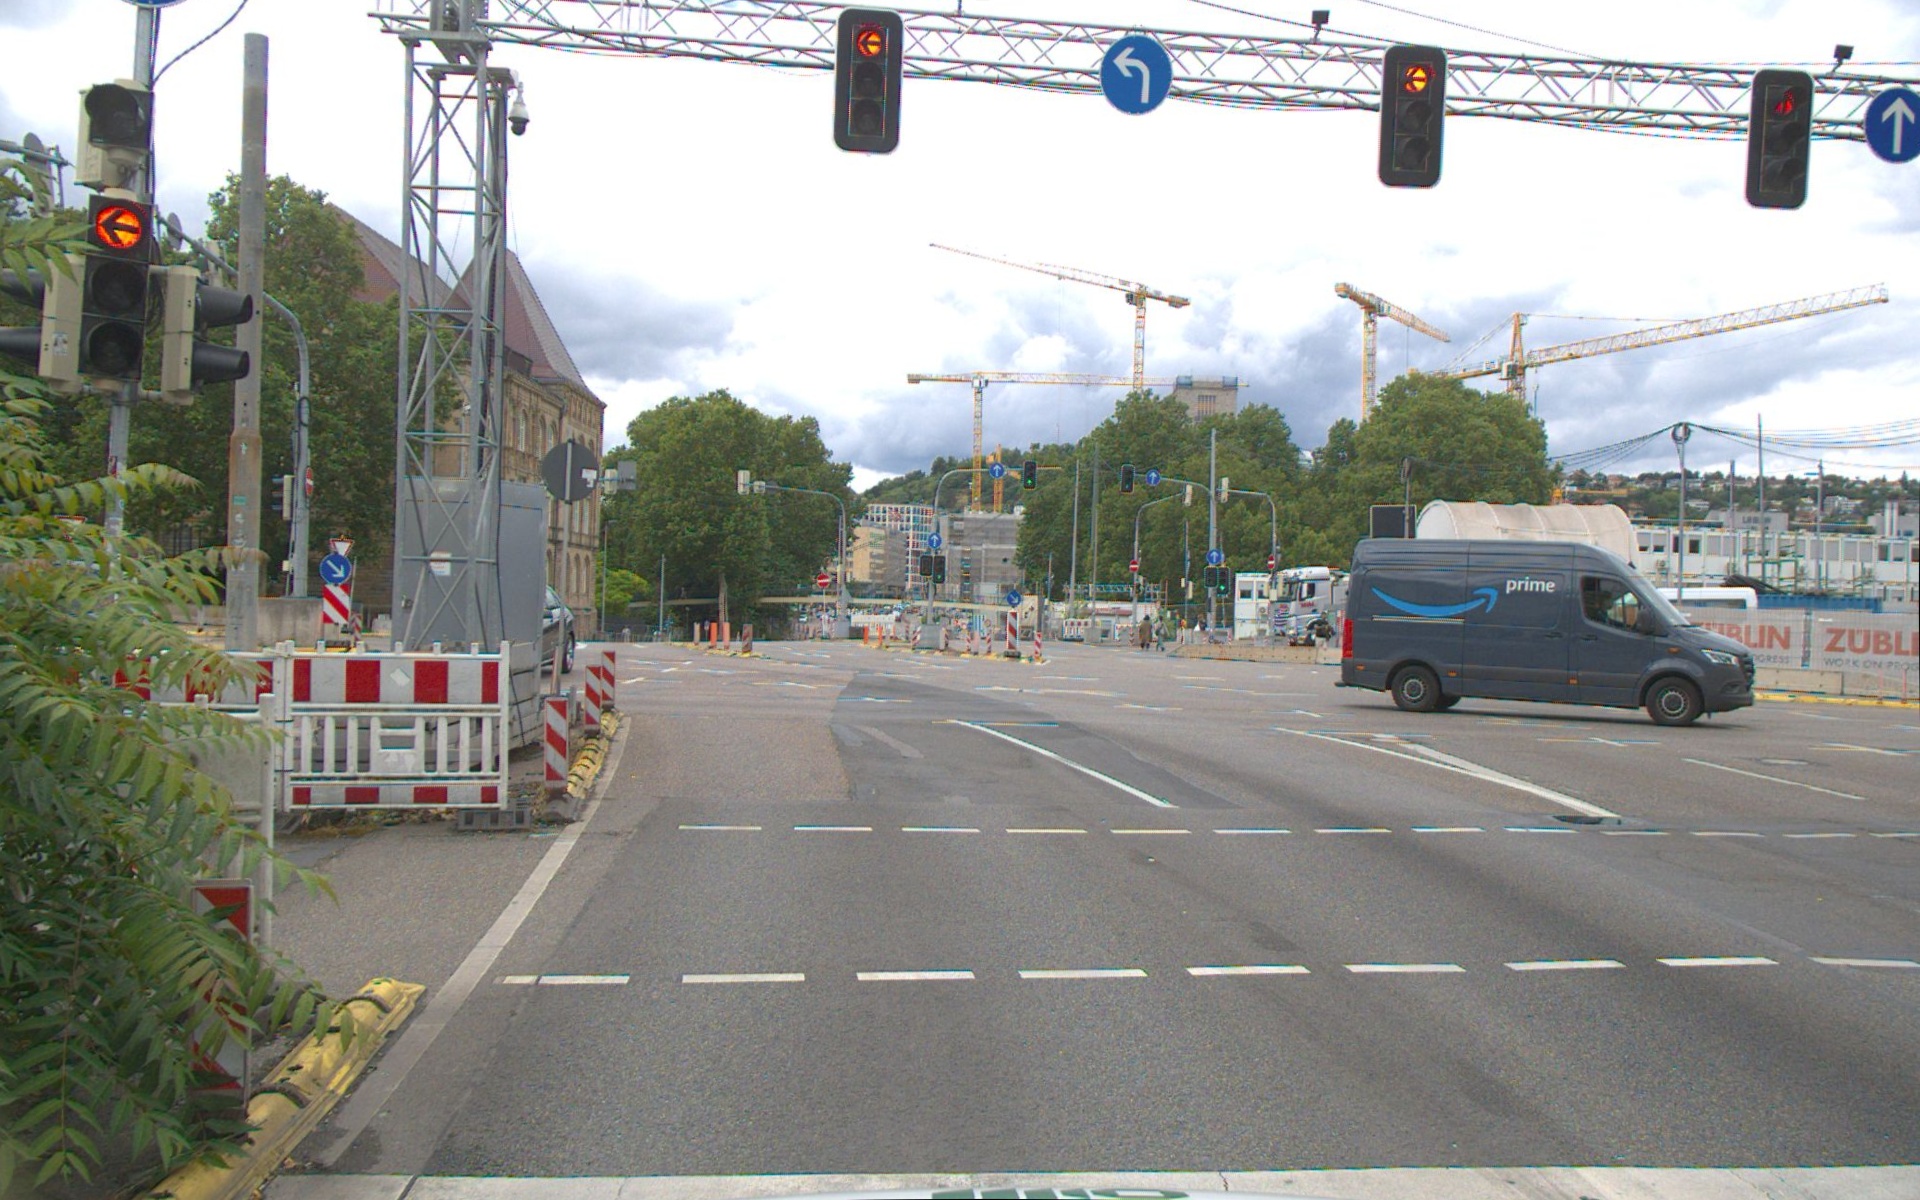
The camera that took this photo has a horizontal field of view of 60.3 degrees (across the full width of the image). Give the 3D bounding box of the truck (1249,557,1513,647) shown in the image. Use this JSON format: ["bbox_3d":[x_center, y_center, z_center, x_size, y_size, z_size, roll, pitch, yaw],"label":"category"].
[{"bbox_3d":[21.005,0.153,82.322,12.837,4.111,3.927,1,0,-21],"label":"truck"}]

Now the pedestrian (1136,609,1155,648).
[{"bbox_3d":[8.342,1.287,74.374,0.714,1.718,0.677,2,0,-1],"label":"pedestrian"}]

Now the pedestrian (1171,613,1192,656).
[{"bbox_3d":[9.073,1.423,67.646,0.714,1.718,0.677,2,0,-1],"label":"pedestrian"}]

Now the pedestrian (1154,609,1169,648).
[{"bbox_3d":[9.052,1.273,74.402,0.555,1.718,0.471,2,0,-1],"label":"pedestrian"}]

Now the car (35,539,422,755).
[{"bbox_3d":[-6.615,0.361,15.550,1.841,1.699,4.442,2,0,-3],"label":"car"}]

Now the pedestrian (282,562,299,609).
[{"bbox_3d":[-29.456,-0.624,72.806,0.523,2.049,0.421,2,0,-44],"label":"pedestrian"}]

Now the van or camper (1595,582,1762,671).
[{"bbox_3d":[20.738,0.737,47.913,4.123,2.398,2.002,1,0,14],"label":"van or camper"}]

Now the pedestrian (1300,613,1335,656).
[{"bbox_3d":[12.052,1.150,55.789,0.783,1.402,0.901,2,0,-14],"label":"pedestrian"}]

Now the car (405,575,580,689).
[{"bbox_3d":[-6.996,0.441,25.161,1.673,1.540,4.285,2,0,-4],"label":"car"}]

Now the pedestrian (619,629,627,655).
[{"bbox_3d":[-27.593,3.433,135.552,0.513,2.049,0.566,1,0,-1],"label":"pedestrian"}]

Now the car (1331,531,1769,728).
[{"bbox_3d":[8.762,0.345,24.769,5.882,2.639,2.060,2,0,30],"label":"car"}]

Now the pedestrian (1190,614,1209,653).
[{"bbox_3d":[10.922,1.524,75.457,0.609,1.718,0.710,2,0,28],"label":"pedestrian"}]

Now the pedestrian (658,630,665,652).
[{"bbox_3d":[-28.507,3.947,158.161,0.513,2.049,0.566,1,0,-1],"label":"pedestrian"}]
